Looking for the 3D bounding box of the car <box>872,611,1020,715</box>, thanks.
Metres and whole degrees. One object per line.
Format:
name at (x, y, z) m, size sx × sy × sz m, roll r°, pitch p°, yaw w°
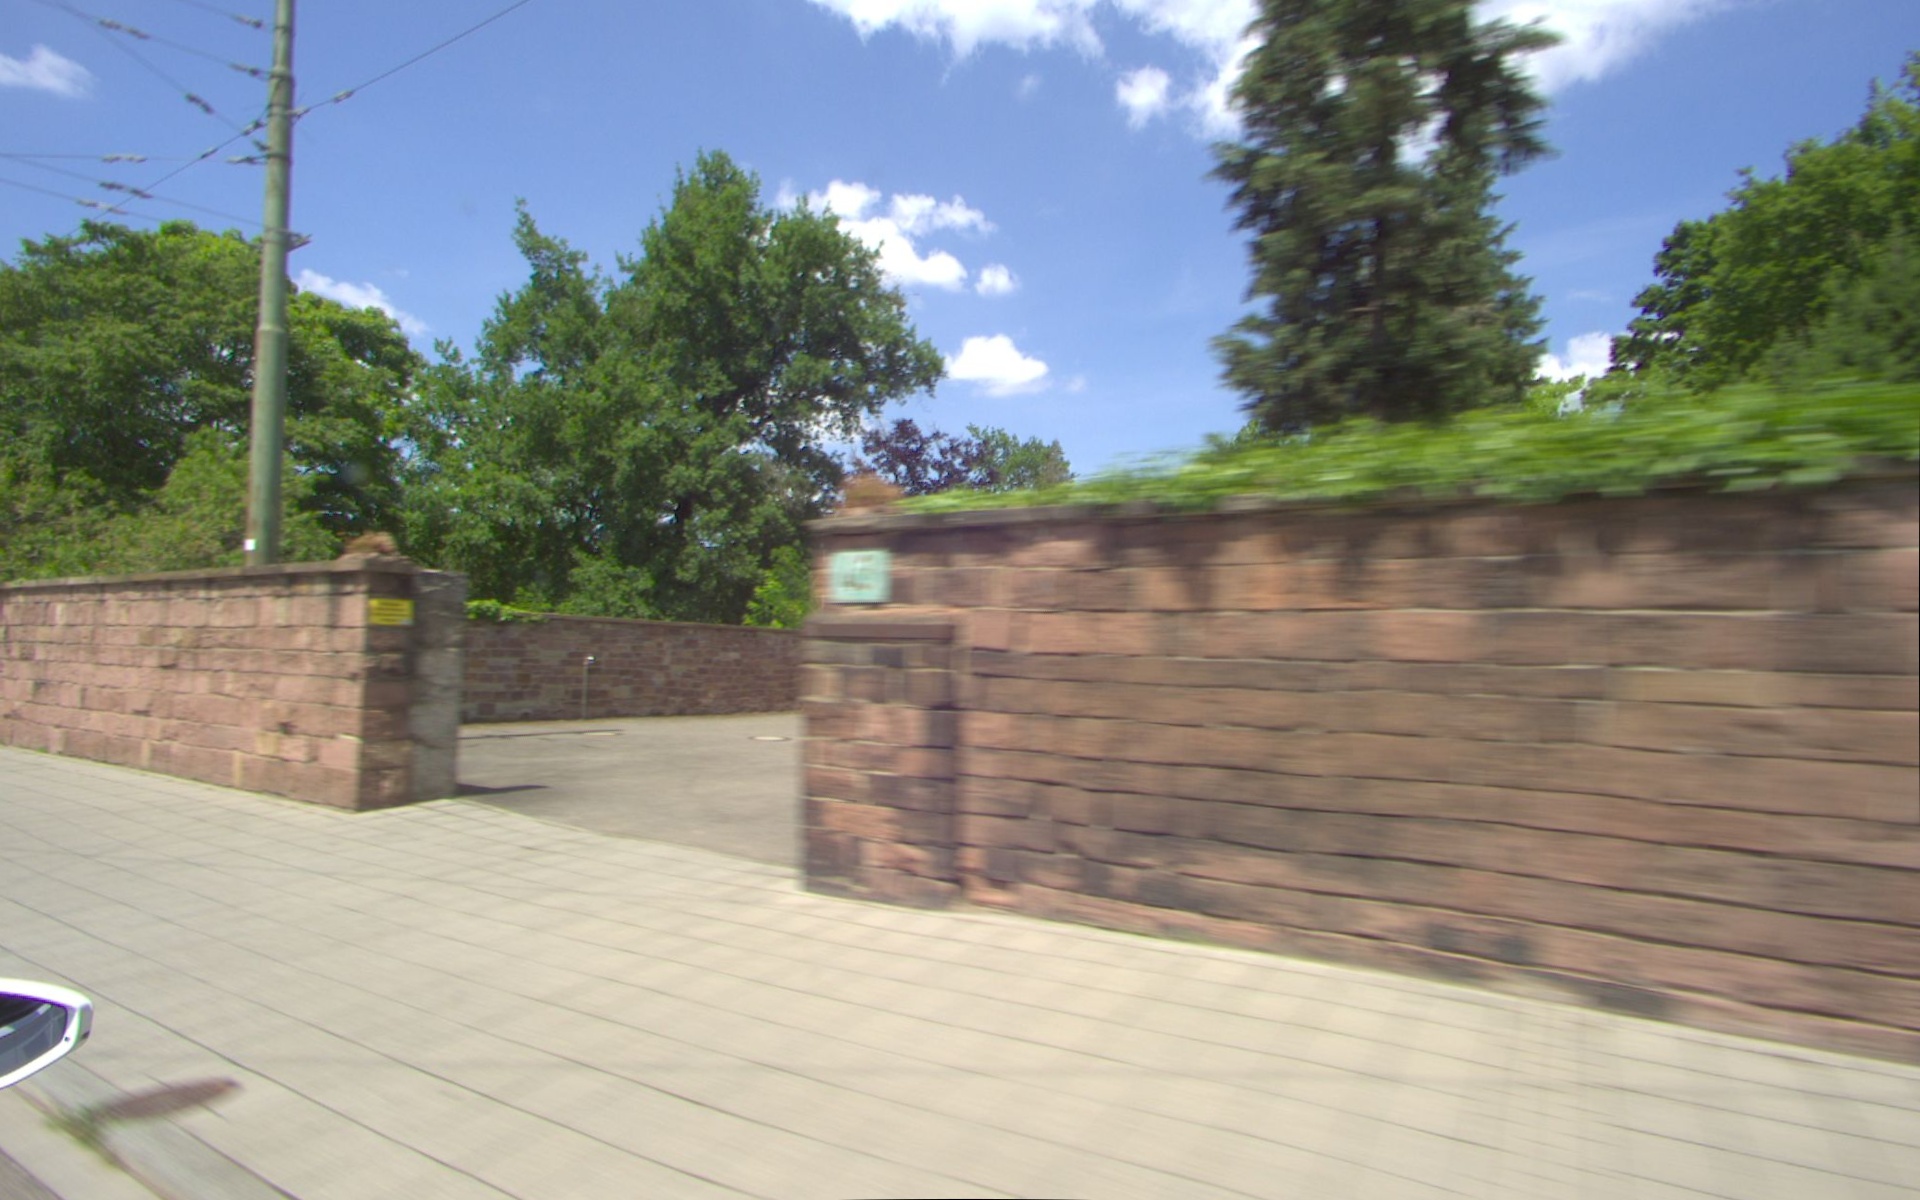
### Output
car at (-0.265, 1.663, 26.421) m, size 1.970 × 2.477 × 4.320 m, roll 1°, pitch -3°, yaw 29°
